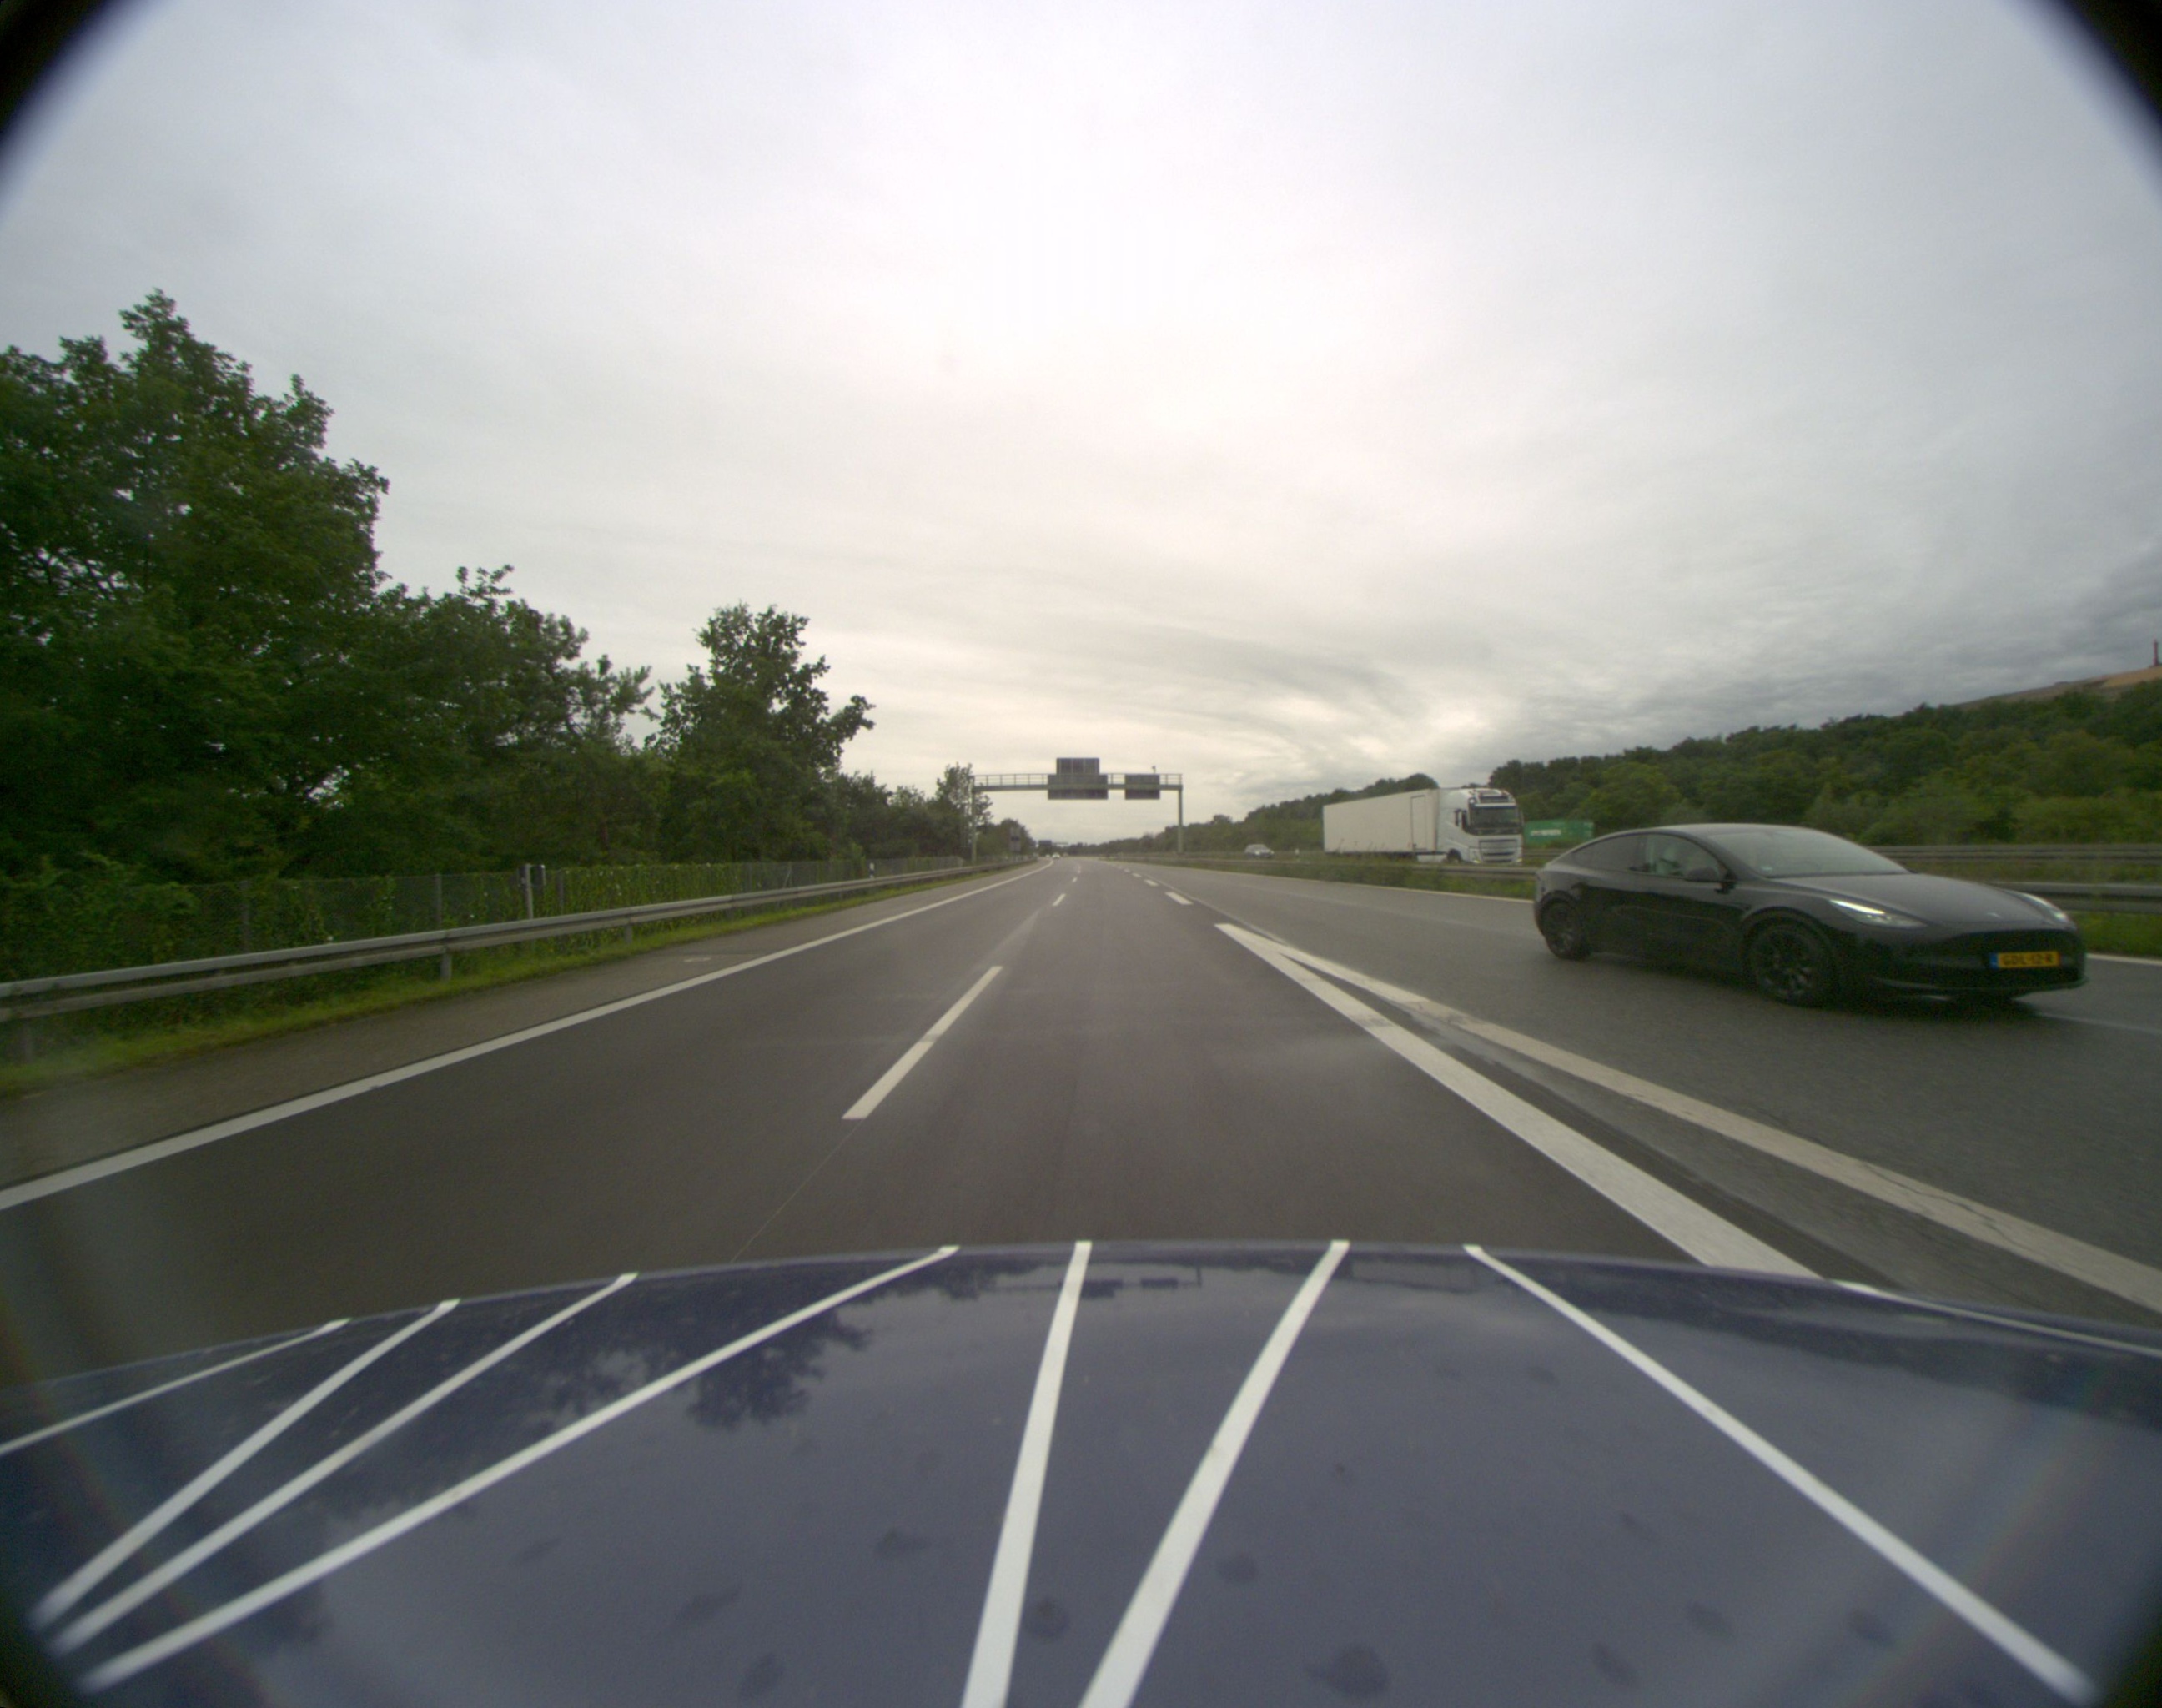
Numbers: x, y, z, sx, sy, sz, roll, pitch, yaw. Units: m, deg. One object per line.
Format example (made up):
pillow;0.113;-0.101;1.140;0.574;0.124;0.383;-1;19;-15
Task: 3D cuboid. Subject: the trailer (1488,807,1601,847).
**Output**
trailer;43.872;-2.455;72.642;2.967;3.383;11.798;-2;1;-4

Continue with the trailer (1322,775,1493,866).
trailer;17.351;-1.636;42.186;2.774;4.111;13.946;-2;1;-3

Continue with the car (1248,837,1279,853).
car;19.599;-0.929;81.678;1.904;1.641;4.483;-2;1;-4

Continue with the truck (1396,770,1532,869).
truck;17.691;-1.512;35.681;2.774;4.111;6.442;-2;1;-3

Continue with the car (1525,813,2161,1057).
car;6.839;0.516;7.608;1.966;1.628;4.552;-3;1;-2

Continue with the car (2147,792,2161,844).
car;50.468;-1.676;33.233;2.028;2.363;3.998;-2;1;-3

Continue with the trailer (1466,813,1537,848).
trailer;43.476;-2.326;78.904;2.967;3.383;7.269;-2;1;-4

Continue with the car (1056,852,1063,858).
car;-6.146;0.214;214.305;1.630;1.632;3.775;-3;1;-4
